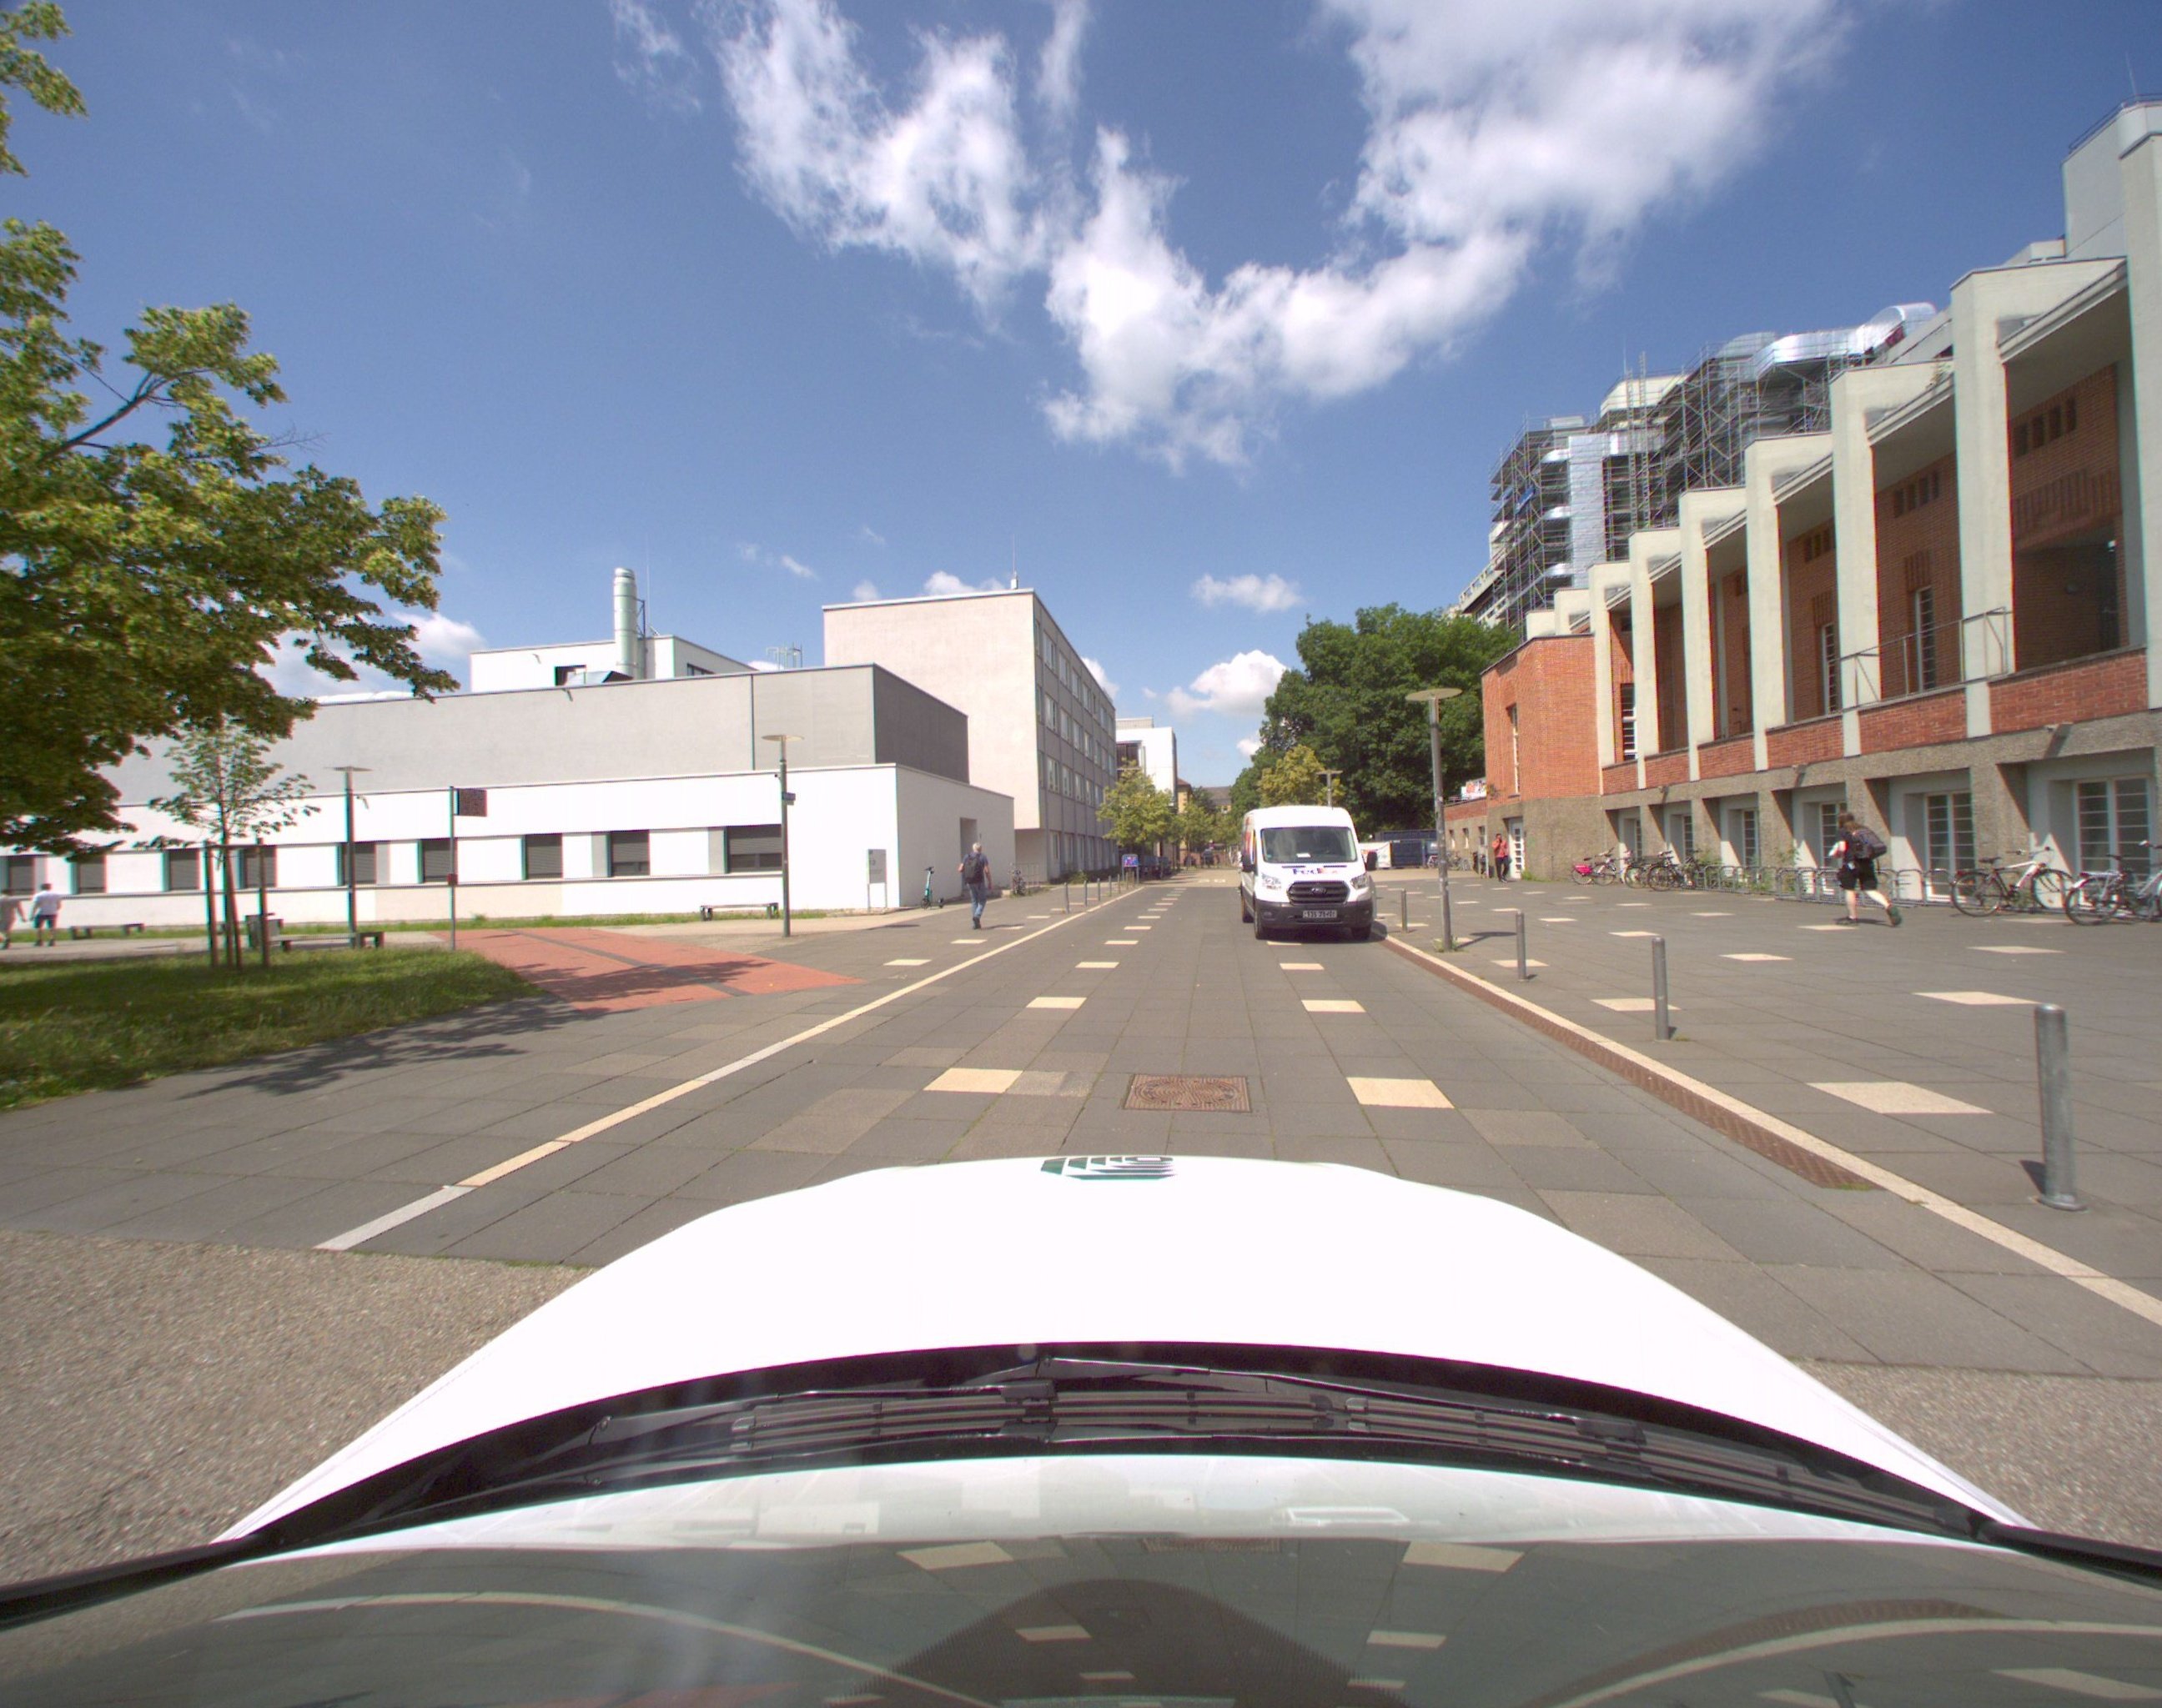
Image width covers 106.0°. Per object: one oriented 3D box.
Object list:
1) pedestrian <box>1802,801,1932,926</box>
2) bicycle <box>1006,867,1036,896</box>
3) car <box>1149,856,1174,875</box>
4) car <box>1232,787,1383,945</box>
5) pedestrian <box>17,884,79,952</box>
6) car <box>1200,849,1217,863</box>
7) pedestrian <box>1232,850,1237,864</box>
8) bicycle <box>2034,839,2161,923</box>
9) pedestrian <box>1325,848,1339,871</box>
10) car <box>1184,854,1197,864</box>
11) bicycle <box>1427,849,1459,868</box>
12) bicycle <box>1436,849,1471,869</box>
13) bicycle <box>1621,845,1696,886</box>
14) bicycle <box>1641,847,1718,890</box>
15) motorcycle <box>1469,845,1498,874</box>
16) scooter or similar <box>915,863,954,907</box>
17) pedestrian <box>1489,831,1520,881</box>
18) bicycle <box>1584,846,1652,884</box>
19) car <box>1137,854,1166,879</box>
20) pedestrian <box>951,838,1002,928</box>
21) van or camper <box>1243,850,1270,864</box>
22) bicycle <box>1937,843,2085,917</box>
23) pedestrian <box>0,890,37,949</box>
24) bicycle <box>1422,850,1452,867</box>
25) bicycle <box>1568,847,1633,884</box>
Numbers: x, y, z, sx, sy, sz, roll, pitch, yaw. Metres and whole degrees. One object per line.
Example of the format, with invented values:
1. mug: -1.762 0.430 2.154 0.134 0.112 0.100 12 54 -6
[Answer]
1. pedestrian: 12.194 0.147 12.682 0.840 1.834 1.199 -2 -1 4
2. bicycle: -2.309 1.048 31.373 0.539 1.061 1.906 -2 0 14
3. car: 6.295 0.866 63.365 1.768 1.461 4.268 0 0 8
4. car: 4.266 0.204 16.328 2.048 2.543 5.862 -2 0 7
5. pedestrian: -29.560 1.820 23.312 0.756 1.884 0.828 -2 -1 12
6. car: 18.433 0.331 118.021 2.163 1.926 5.197 -2 -1 7
7. pedestrian: 20.741 0.413 110.141 0.580 1.764 0.915 -2 -1 14
8. bicycle: 14.669 0.368 11.406 1.901 1.110 0.436 -2 -1 7
9. pedestrian: 15.306 0.334 49.624 0.691 1.330 0.718 -2 -1 11
10. car: 15.901 0.712 118.383 1.807 1.324 3.777 -2 -1 8
11. bicycle: 22.065 0.267 49.705 1.691 1.109 0.449 -2 -1 9
12. bicycle: 21.800 0.289 47.658 1.795 1.109 0.449 -2 -1 9
13. bicycle: 16.749 0.331 23.647 1.737 1.110 0.436 -2 -1 7
14. bicycle: 16.300 0.402 22.194 1.673 1.110 0.436 -2 -1 7
15. motorcycle: 19.478 0.266 39.436 0.691 1.323 2.227 -2 0 12
16. scooter or similar: -4.358 0.916 24.312 0.478 1.263 1.320 -2 -1 22
17. pedestrian: 16.000 0.086 30.750 0.660 1.834 0.906 -2 -1 2
18. bicycle: 17.150 0.358 26.017 1.743 1.149 0.519 -2 -1 7
19. car: 4.840 0.812 55.301 1.687 1.564 4.077 -2 0 8
20. pedestrian: -2.196 0.605 17.226 0.819 1.817 1.146 -2 -1 4
21. van or camper: 23.467 0.392 108.840 1.935 1.923 5.453 -1 0 29
22. bicycle: 14.892 0.412 13.071 1.673 1.110 0.436 -2 -1 7
23. pedestrian: -29.620 1.811 22.465 0.723 1.562 0.761 -2 -1 12
24. bicycle: 22.747 0.295 51.987 1.661 1.003 0.449 -2 -1 9
25. bicycle: 17.208 0.375 26.993 1.743 1.149 0.436 -2 -1 7
